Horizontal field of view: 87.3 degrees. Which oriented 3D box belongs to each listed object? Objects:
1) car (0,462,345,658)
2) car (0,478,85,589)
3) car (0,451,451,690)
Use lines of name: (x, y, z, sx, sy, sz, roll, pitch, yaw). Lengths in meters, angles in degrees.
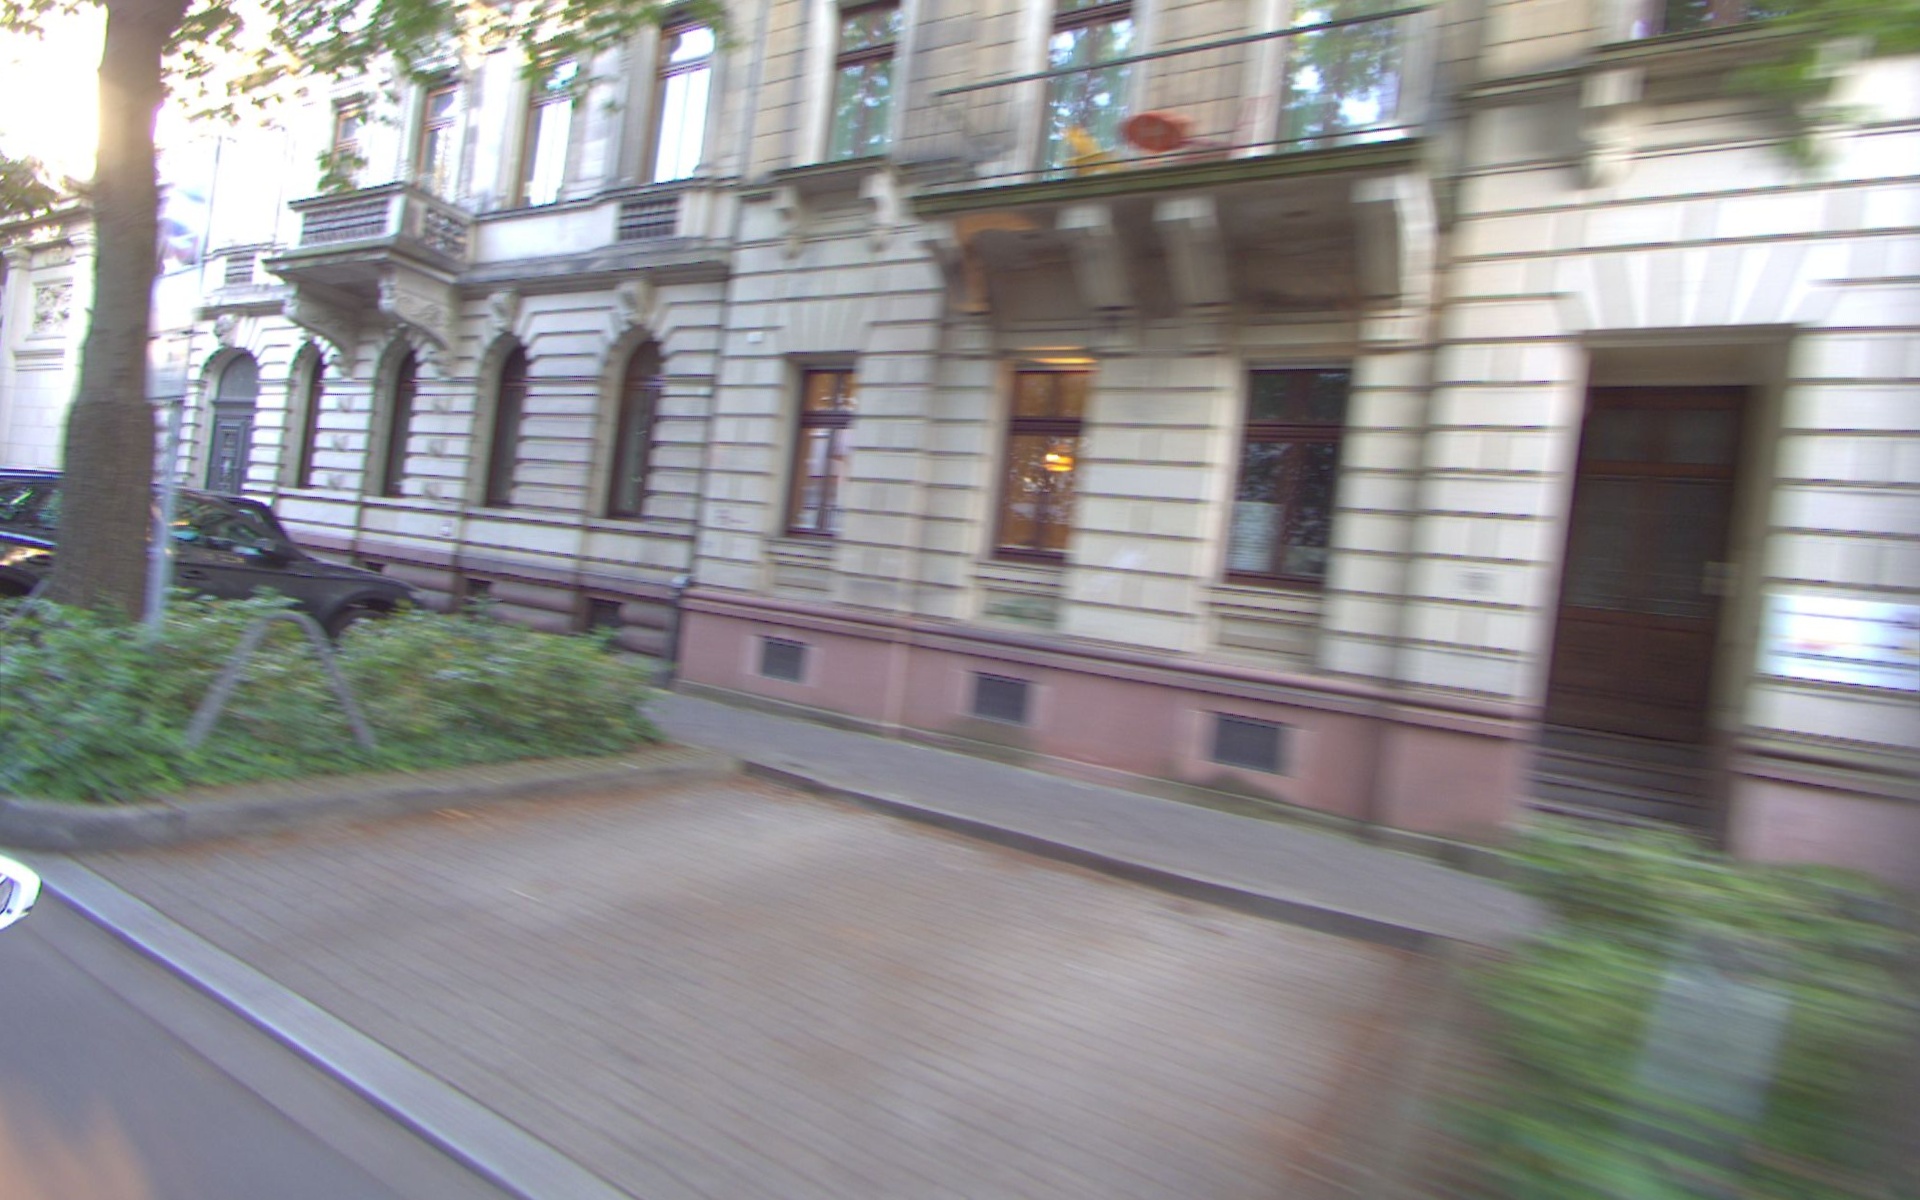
car: (-9.045, -0.421, 10.502, 1.735, 1.707, 4.014, 8, 0, 30)
car: (-14.777, -1.096, 13.464, 1.823, 1.500, 4.227, 7, 1, 30)
car: (-7.212, -0.221, 8.833, 1.935, 1.739, 4.446, 6, 0, 30)
